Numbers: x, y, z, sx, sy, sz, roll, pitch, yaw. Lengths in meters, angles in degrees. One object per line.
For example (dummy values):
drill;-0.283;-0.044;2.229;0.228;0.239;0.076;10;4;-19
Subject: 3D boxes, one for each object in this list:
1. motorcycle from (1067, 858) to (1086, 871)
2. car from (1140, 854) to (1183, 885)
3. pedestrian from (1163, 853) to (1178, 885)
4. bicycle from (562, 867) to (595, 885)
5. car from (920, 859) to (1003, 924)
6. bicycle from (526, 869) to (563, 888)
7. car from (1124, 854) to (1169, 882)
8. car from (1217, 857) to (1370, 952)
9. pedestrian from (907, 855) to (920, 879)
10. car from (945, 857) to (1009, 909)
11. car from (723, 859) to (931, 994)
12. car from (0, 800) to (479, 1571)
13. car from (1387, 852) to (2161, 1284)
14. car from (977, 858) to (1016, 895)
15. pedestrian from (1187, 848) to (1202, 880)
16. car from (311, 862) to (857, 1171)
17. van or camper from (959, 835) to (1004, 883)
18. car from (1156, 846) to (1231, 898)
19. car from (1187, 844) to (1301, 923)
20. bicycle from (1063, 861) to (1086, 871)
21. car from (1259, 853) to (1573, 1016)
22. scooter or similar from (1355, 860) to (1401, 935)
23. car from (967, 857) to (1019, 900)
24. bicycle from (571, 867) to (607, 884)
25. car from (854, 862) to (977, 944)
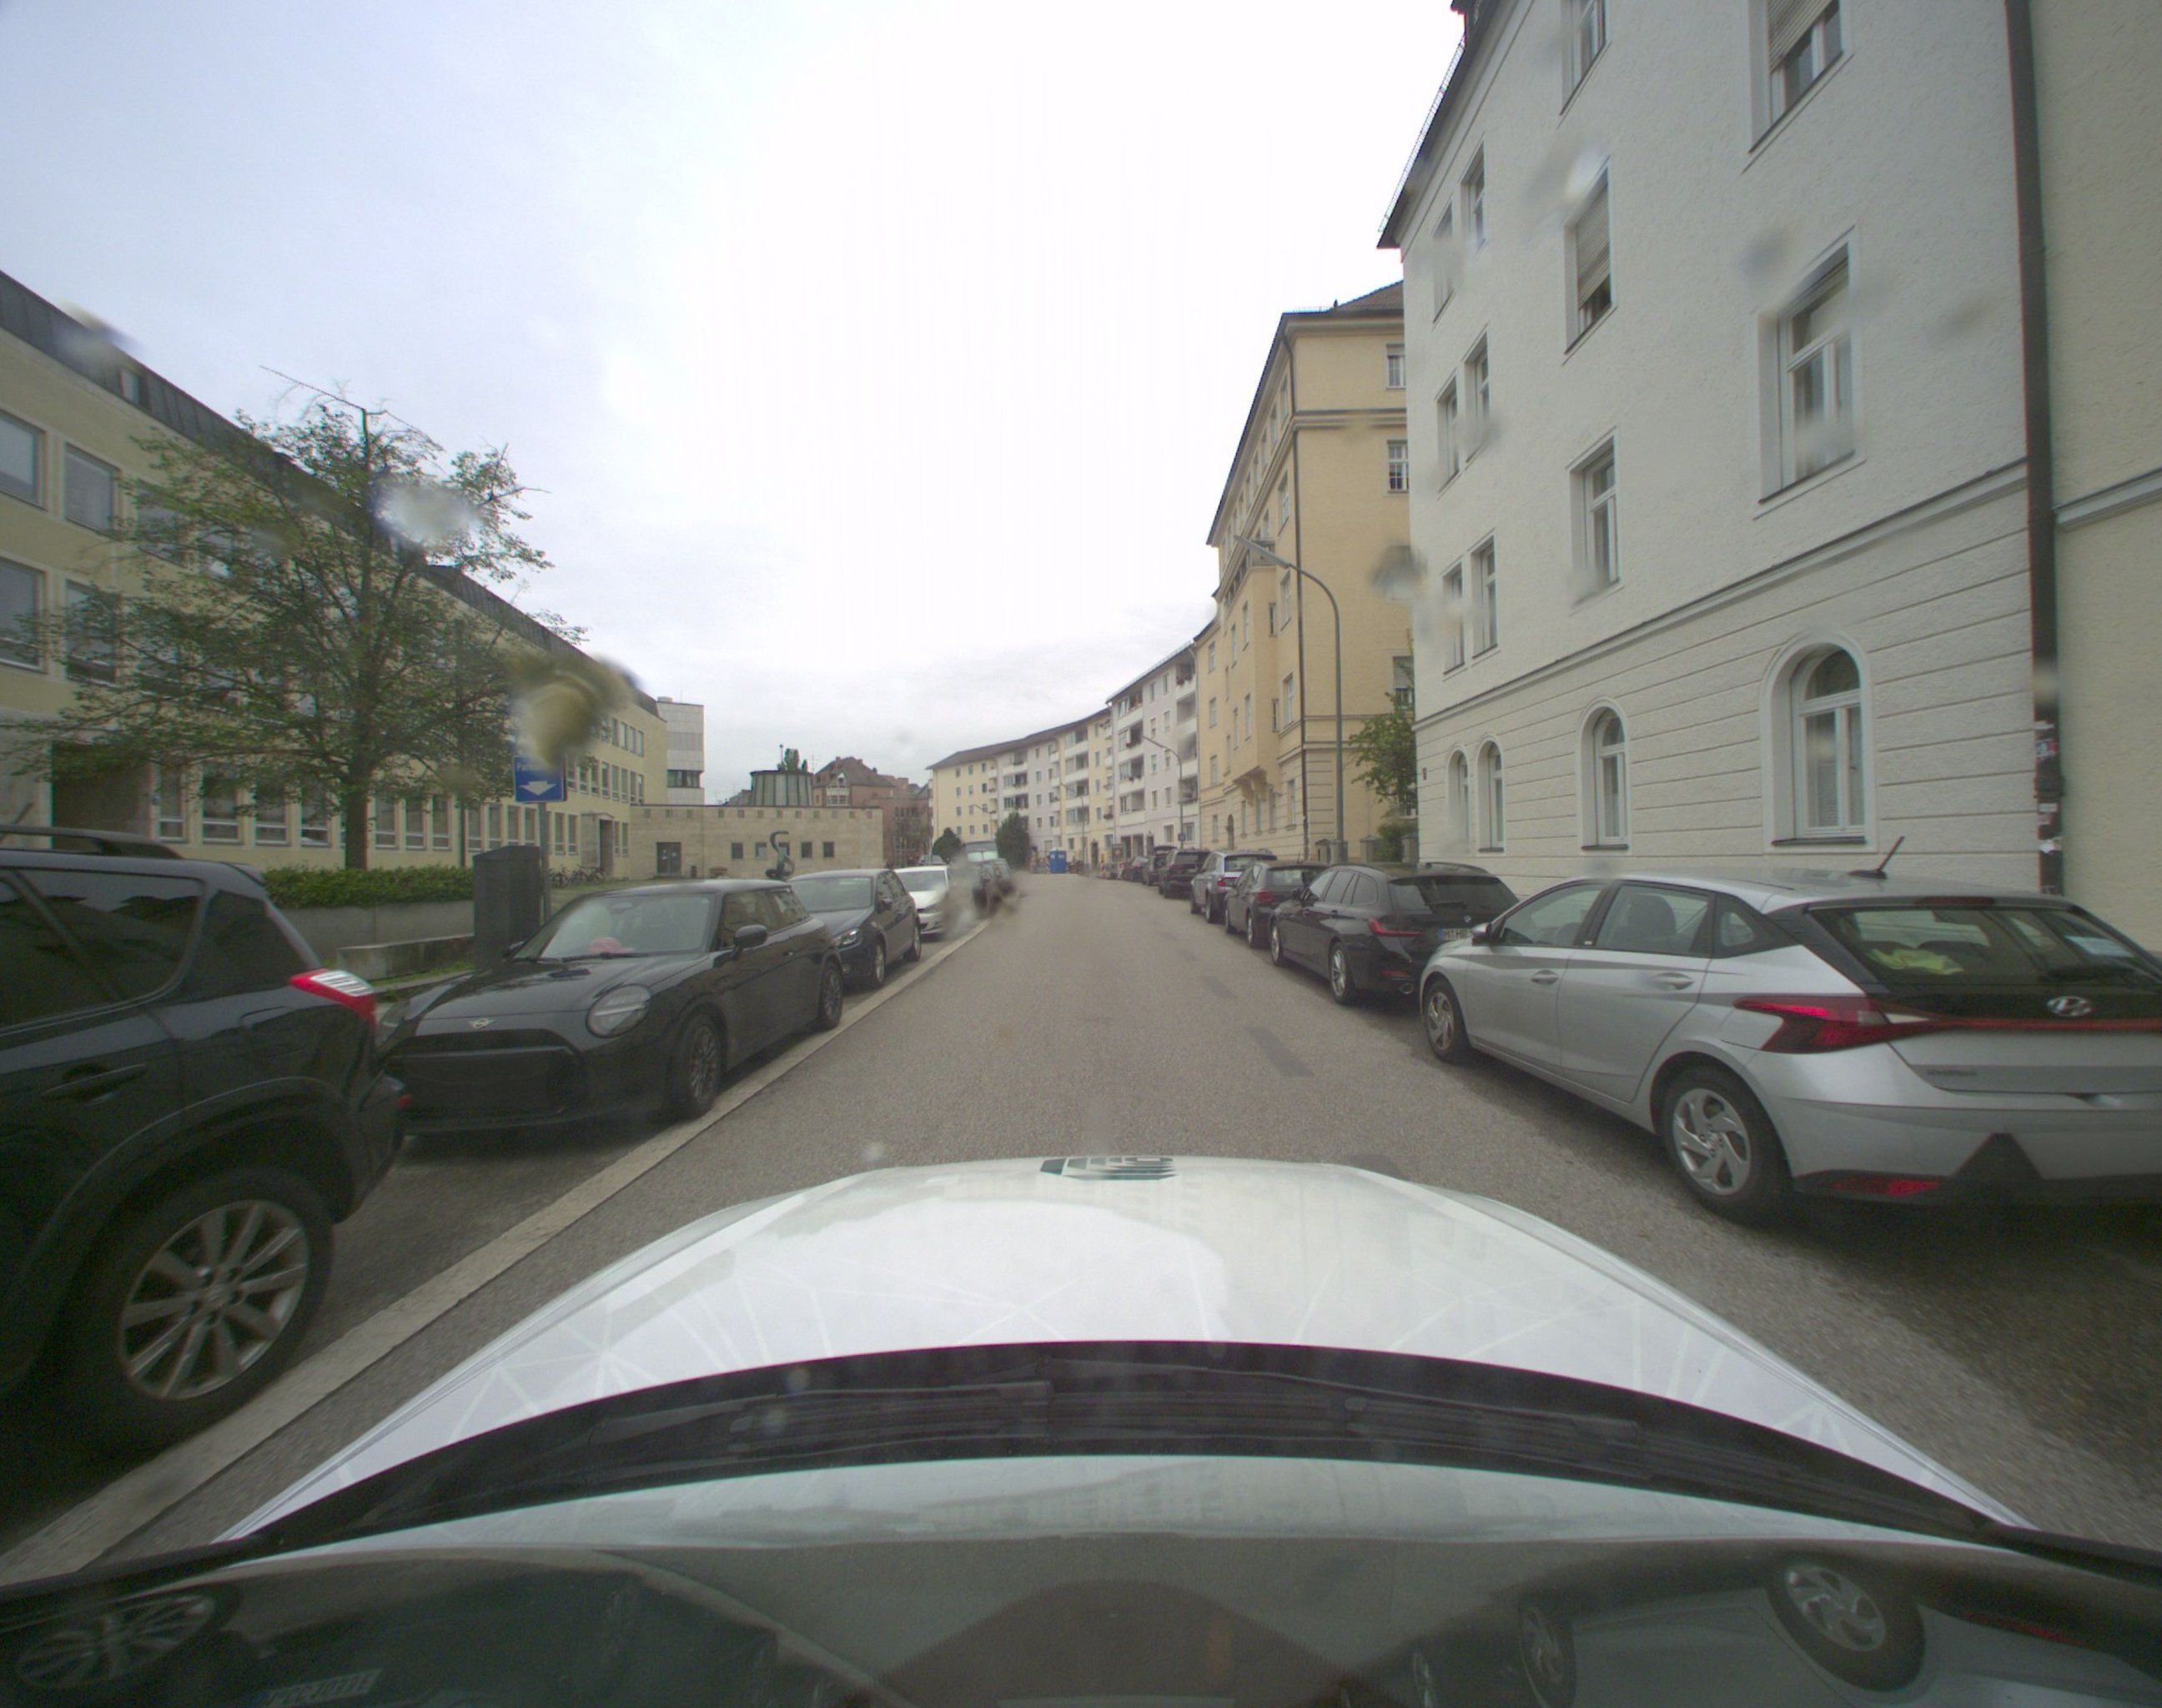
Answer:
motorcycle;-0.467;1.039;78.868;0.936;1.221;2.488;-1;0;-23
car;3.927;0.740;40.177;1.626;1.417;3.677;0;0;-2
pedestrian;4.219;0.705;38.413;0.626;1.528;0.578;0;0;0
bicycle;-27.825;1.210;45.086;1.474;0.945;0.412;0;0;-16
car;-3.186;0.940;22.439;1.626;1.494;4.273;-3;0;-1
bicycle;-27.110;1.216;41.155;1.474;0.945;0.412;0;0;-16
car;3.667;0.735;46.449;1.904;1.477;4.941;0;0;-3
car;3.694;0.805;14.886;1.821;1.450;4.085;0;0;1
pedestrian;-13.023;1.007;63.285;0.847;1.866;0.707;0;-1;-27
car;-3.384;0.921;27.149;1.626;1.494;3.602;-3;0;-1
car;-3.244;0.828;11.255;1.626;1.494;4.099;-1;0;-1
car;-3.270;0.765;1.086;1.708;1.689;4.142;-3;0;1
car;3.480;0.720;4.871;1.719;1.450;4.187;0;0;0
car;-3.737;0.959;36.292;1.516;1.465;2.883;-3;0;-4
pedestrian;6.260;0.536;44.876;0.615;1.690;0.919;-4;-1;1
car;-3.090;0.857;6.106;1.625;1.494;3.821;-2;0;1
van or camper;-5.887;0.257;47.538;2.297;2.581;6.064;0;0;-10
car;4.029;0.607;29.964;2.162;1.739;5.025;0;0;1
car;3.783;0.637;19.699;1.840;1.663;4.497;-1;0;0
bicycle;-0.678;1.285;86.890;2.242;1.069;0.912;-1;-1;-23
car;3.536;0.727;9.680;1.869;1.450;4.678;0;0;1
scooter or similar;5.092;0.723;14.007;0.425;1.230;1.048;-1;0;1
car;-3.438;0.918;32.404;1.770;1.465;4.460;-3;0;-4
bicycle;-28.065;1.210;46.486;1.710;0.945;0.412;0;0;-16
car;-3.329;0.926;17.180;1.736;1.422;4.292;-2;0;-1
